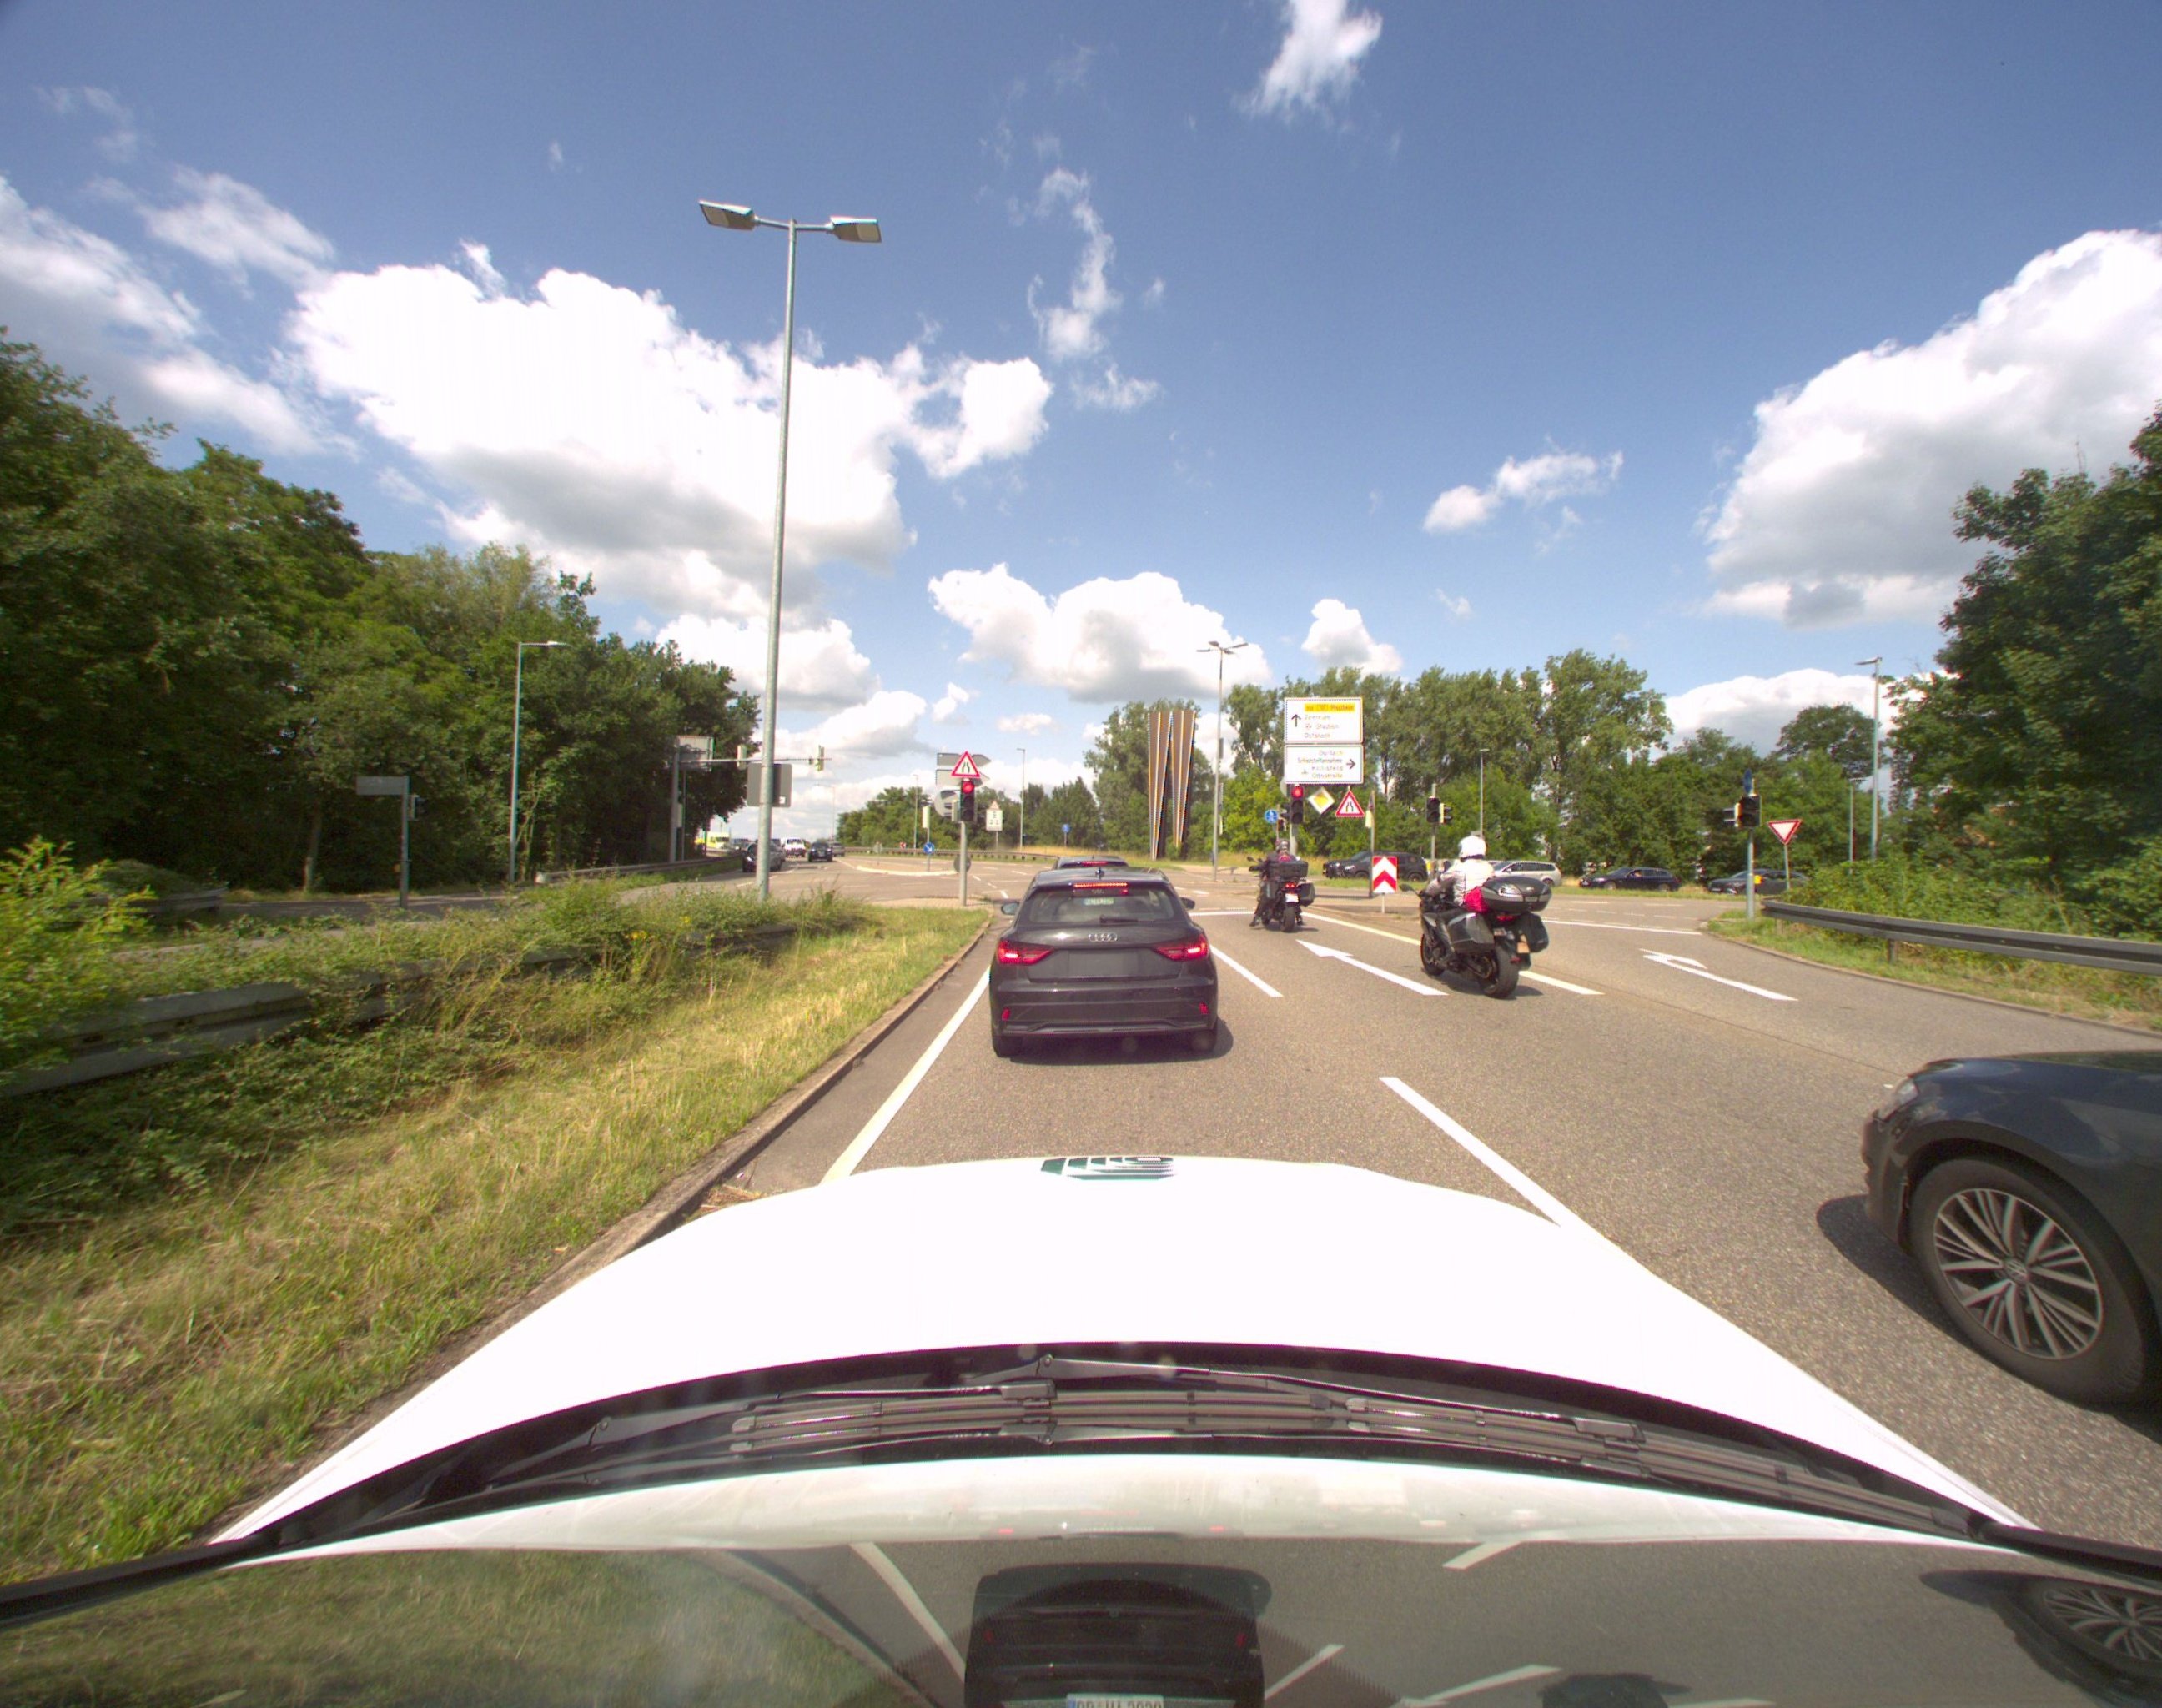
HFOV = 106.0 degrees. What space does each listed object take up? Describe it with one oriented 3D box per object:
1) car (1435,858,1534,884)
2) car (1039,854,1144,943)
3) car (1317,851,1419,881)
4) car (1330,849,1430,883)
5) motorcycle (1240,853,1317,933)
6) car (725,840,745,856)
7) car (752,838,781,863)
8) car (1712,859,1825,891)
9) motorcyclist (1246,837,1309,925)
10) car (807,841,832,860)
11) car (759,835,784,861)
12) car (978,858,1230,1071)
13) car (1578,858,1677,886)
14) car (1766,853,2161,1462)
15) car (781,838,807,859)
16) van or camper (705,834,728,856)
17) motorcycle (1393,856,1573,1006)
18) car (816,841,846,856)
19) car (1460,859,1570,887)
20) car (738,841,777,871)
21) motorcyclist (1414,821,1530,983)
[{"bbox_3d":[21.574,0.889,43.635,4.481,1.281,1.736,1,0,-2],"label":"car"},{"bbox_3d":[0.107,0.734,15.474,1.722,1.423,3.841,-1,0,-2],"label":"car"},{"bbox_3d":[15.284,0.631,43.525,4.831,1.545,1.737,1,0,0],"label":"car"},{"bbox_3d":[14.526,0.574,39.688,4.253,1.545,1.737,1,0,0],"label":"car"},{"bbox_3d":[3.658,0.672,15.294,0.933,1.383,2.371,0,0,2],"label":"motorcycle"},{"bbox_3d":[-38.806,-0.656,91.277,1.853,1.705,4.289,1,0,-26],"label":"car"},{"bbox_3d":[-23.194,-0.254,60.223,1.849,1.802,4.299,1,0,-19],"label":"car"},{"bbox_3d":[33.924,1.030,40.269,4.212,1.476,1.736,1,0,-2],"label":"car"},{"bbox_3d":[3.662,0.490,15.251,0.933,1.590,1.084,0,0,1],"label":"motorcyclist"},{"bbox_3d":[-21.087,-0.276,65.640,1.737,1.496,4.018,0,0,-21],"label":"car"},{"bbox_3d":[-25.746,-0.499,67.635,1.850,2.100,4.295,1,0,-22],"label":"car"},{"bbox_3d":[0.220,0.777,7.664,1.720,1.404,4.002,-1,0,2],"label":"car"},{"bbox_3d":[29.441,0.956,43.961,4.212,1.476,1.736,1,0,-2],"label":"car"},{"bbox_3d":[3.454,0.745,1.140,1.724,1.476,4.049,1,0,2],"label":"car"},{"bbox_3d":[-28.871,-0.583,81.851,2.004,2.013,4.431,1,0,-27],"label":"car"},{"bbox_3d":[-46.603,-1.097,103.944,2.006,2.683,6.798,0,0,-30],"label":"van or camper"},{"bbox_3d":[4.278,0.738,8.928,0.862,1.389,2.371,0,0,2],"label":"motorcycle"},{"bbox_3d":[-25.822,-0.602,84.124,2.006,1.496,4.079,1,0,-31],"label":"car"},{"bbox_3d":[21.114,0.914,39.708,4.460,1.320,1.736,1,0,-2],"label":"car"},{"bbox_3d":[-18.261,0.133,46.170,1.844,1.618,3.974,0,-1,-19],"label":"car"},{"bbox_3d":[4.285,0.499,8.994,0.862,1.700,0.895,0,0,1],"label":"motorcyclist"}]
